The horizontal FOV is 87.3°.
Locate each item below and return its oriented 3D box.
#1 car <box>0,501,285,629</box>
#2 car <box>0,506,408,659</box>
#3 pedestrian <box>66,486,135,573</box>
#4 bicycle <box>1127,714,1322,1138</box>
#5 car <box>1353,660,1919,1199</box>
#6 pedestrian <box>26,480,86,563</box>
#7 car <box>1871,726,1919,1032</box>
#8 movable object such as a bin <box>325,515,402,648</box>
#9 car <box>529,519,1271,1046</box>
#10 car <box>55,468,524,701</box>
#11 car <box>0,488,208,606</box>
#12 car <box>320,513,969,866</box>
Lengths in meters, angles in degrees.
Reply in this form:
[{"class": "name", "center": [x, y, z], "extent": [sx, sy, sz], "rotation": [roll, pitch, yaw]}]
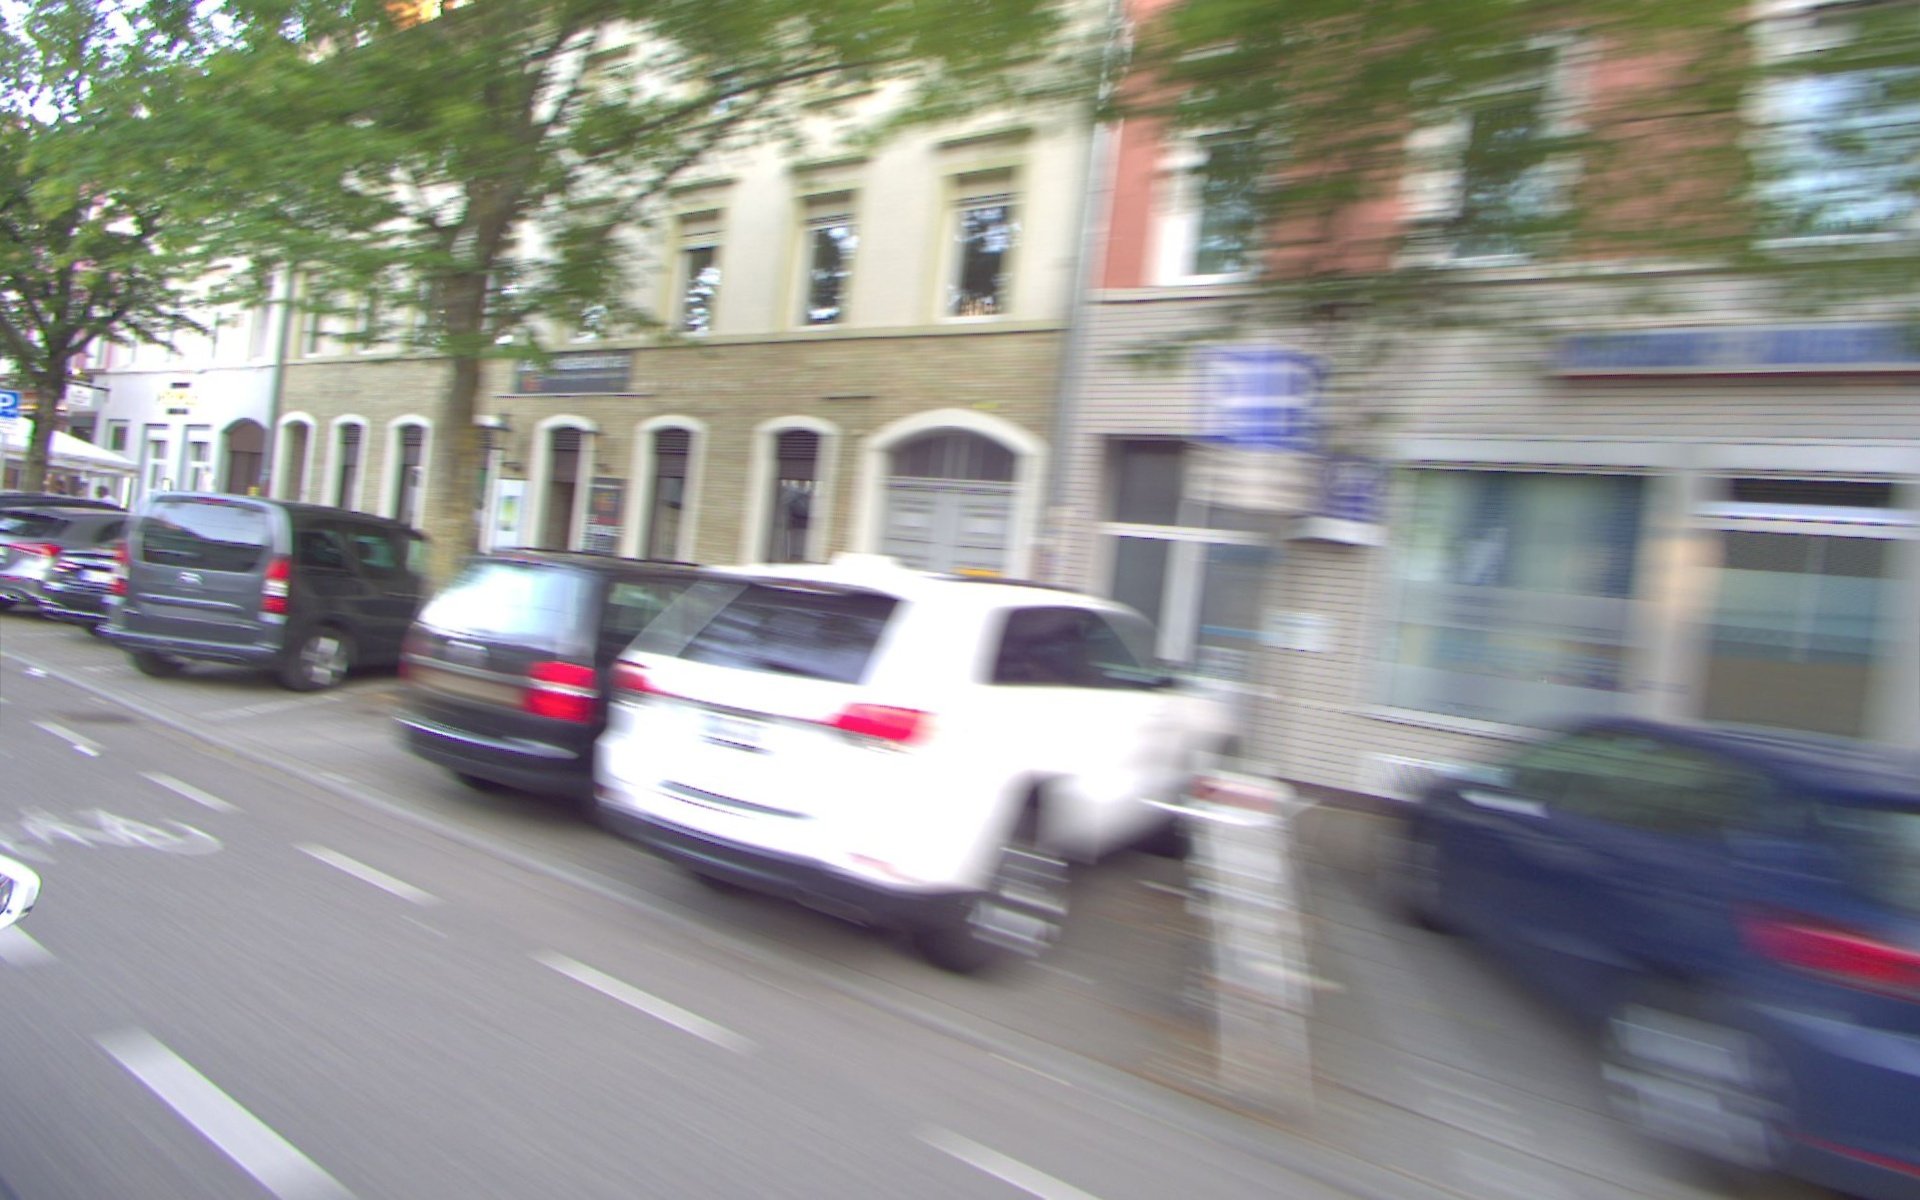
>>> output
[{"class": "car", "center": [-11.425, -0.458, 13.588], "extent": [1.673, 1.425, 3.785], "rotation": [7, 0, 7]}, {"class": "car", "center": [-9.181, -0.206, 12.514], "extent": [1.772, 1.407, 4.323], "rotation": [7, 1, 7]}, {"class": "pedestrian", "center": [-19.168, -1.568, 22.440], "extent": [0.701, 1.784, 0.705], "rotation": [7, -1, 5]}, {"class": "bicycle", "center": [1.143, 1.150, 4.145], "extent": [0.488, 1.117, 1.840], "rotation": [7, 2, 19]}, {"class": "car", "center": [3.338, 1.224, 4.476], "extent": [1.695, 1.445, 3.757], "rotation": [6, 2, 2]}, {"class": "pedestrian", "center": [-21.001, -1.814, 23.379], "extent": [0.837, 1.784, 0.553], "rotation": [7, -1, 20]}, {"class": "car", "center": [5.472, 1.496, 2.901], "extent": [1.938, 1.445, 4.223], "rotation": [6, 2, 5]}, {"class": "movable object such as a bin", "center": [-9.635, -0.298, 16.247], "extent": [0.684, 2.038, 0.614], "rotation": [7, 0, 31]}, {"class": "car", "center": [0.174, 0.699, 5.978], "extent": [1.974, 1.710, 4.651], "rotation": [7, 1, 31]}, {"class": "car", "center": [-6.805, -0.136, 10.900], "extent": [1.970, 1.829, 4.160], "rotation": [6, 1, 4]}, {"class": "car", "center": [-13.576, -0.798, 14.774], "extent": [1.673, 1.573, 3.974], "rotation": [6, 1, 7]}, {"class": "car", "center": [-1.920, 0.516, 7.758], "extent": [1.972, 1.710, 4.656], "rotation": [7, 1, 27]}]
